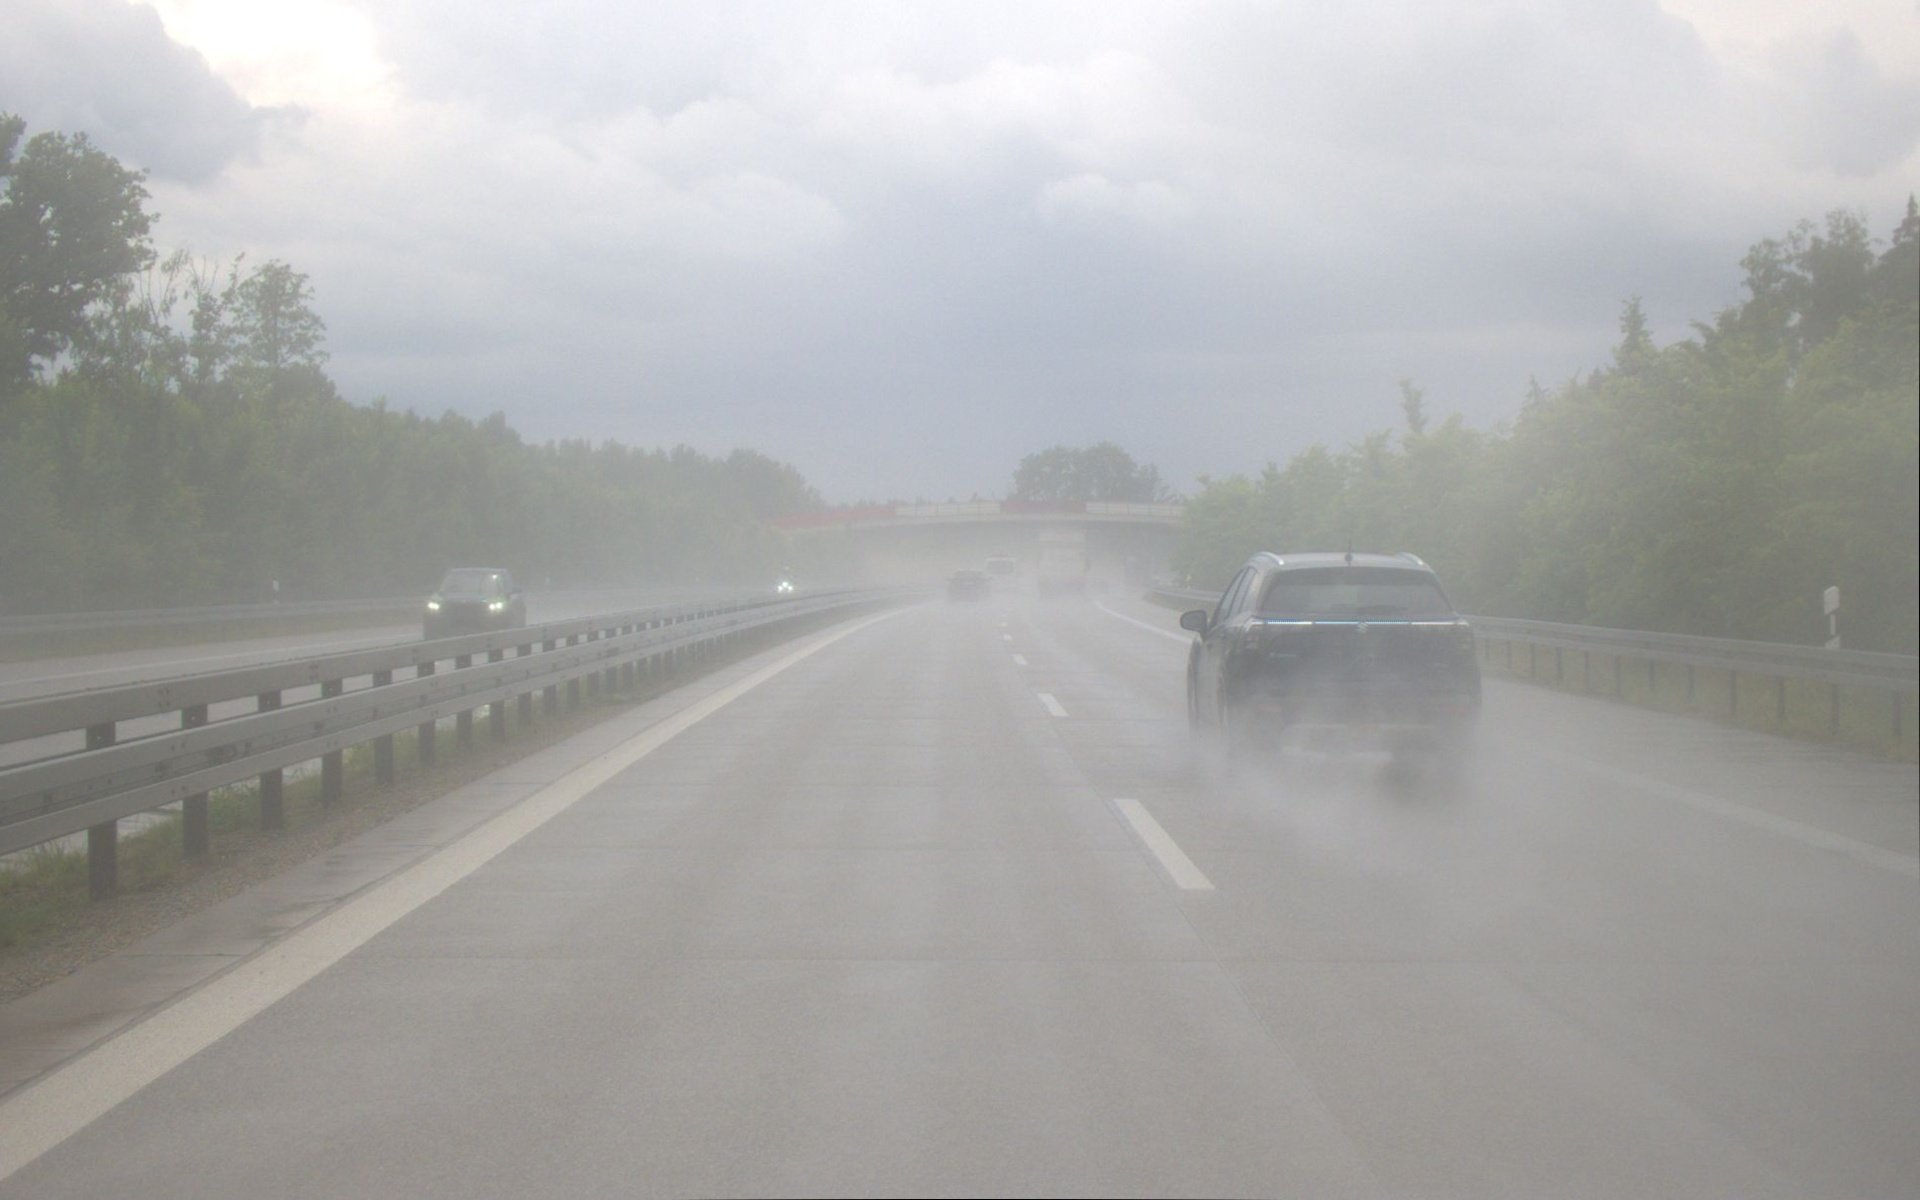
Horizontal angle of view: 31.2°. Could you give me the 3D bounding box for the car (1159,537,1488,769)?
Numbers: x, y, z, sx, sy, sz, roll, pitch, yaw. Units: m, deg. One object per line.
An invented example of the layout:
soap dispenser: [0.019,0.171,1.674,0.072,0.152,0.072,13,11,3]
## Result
car: [2.599,0.362,25.381,1.894,1.570,3.632,1,0,-2]

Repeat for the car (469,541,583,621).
car: [-9.573,-0.446,76.187,1.993,1.593,4.791,-2,1,-2]

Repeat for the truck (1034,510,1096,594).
truck: [5.644,-2.537,184.571,3.244,4.422,8.245,0,0,2]
